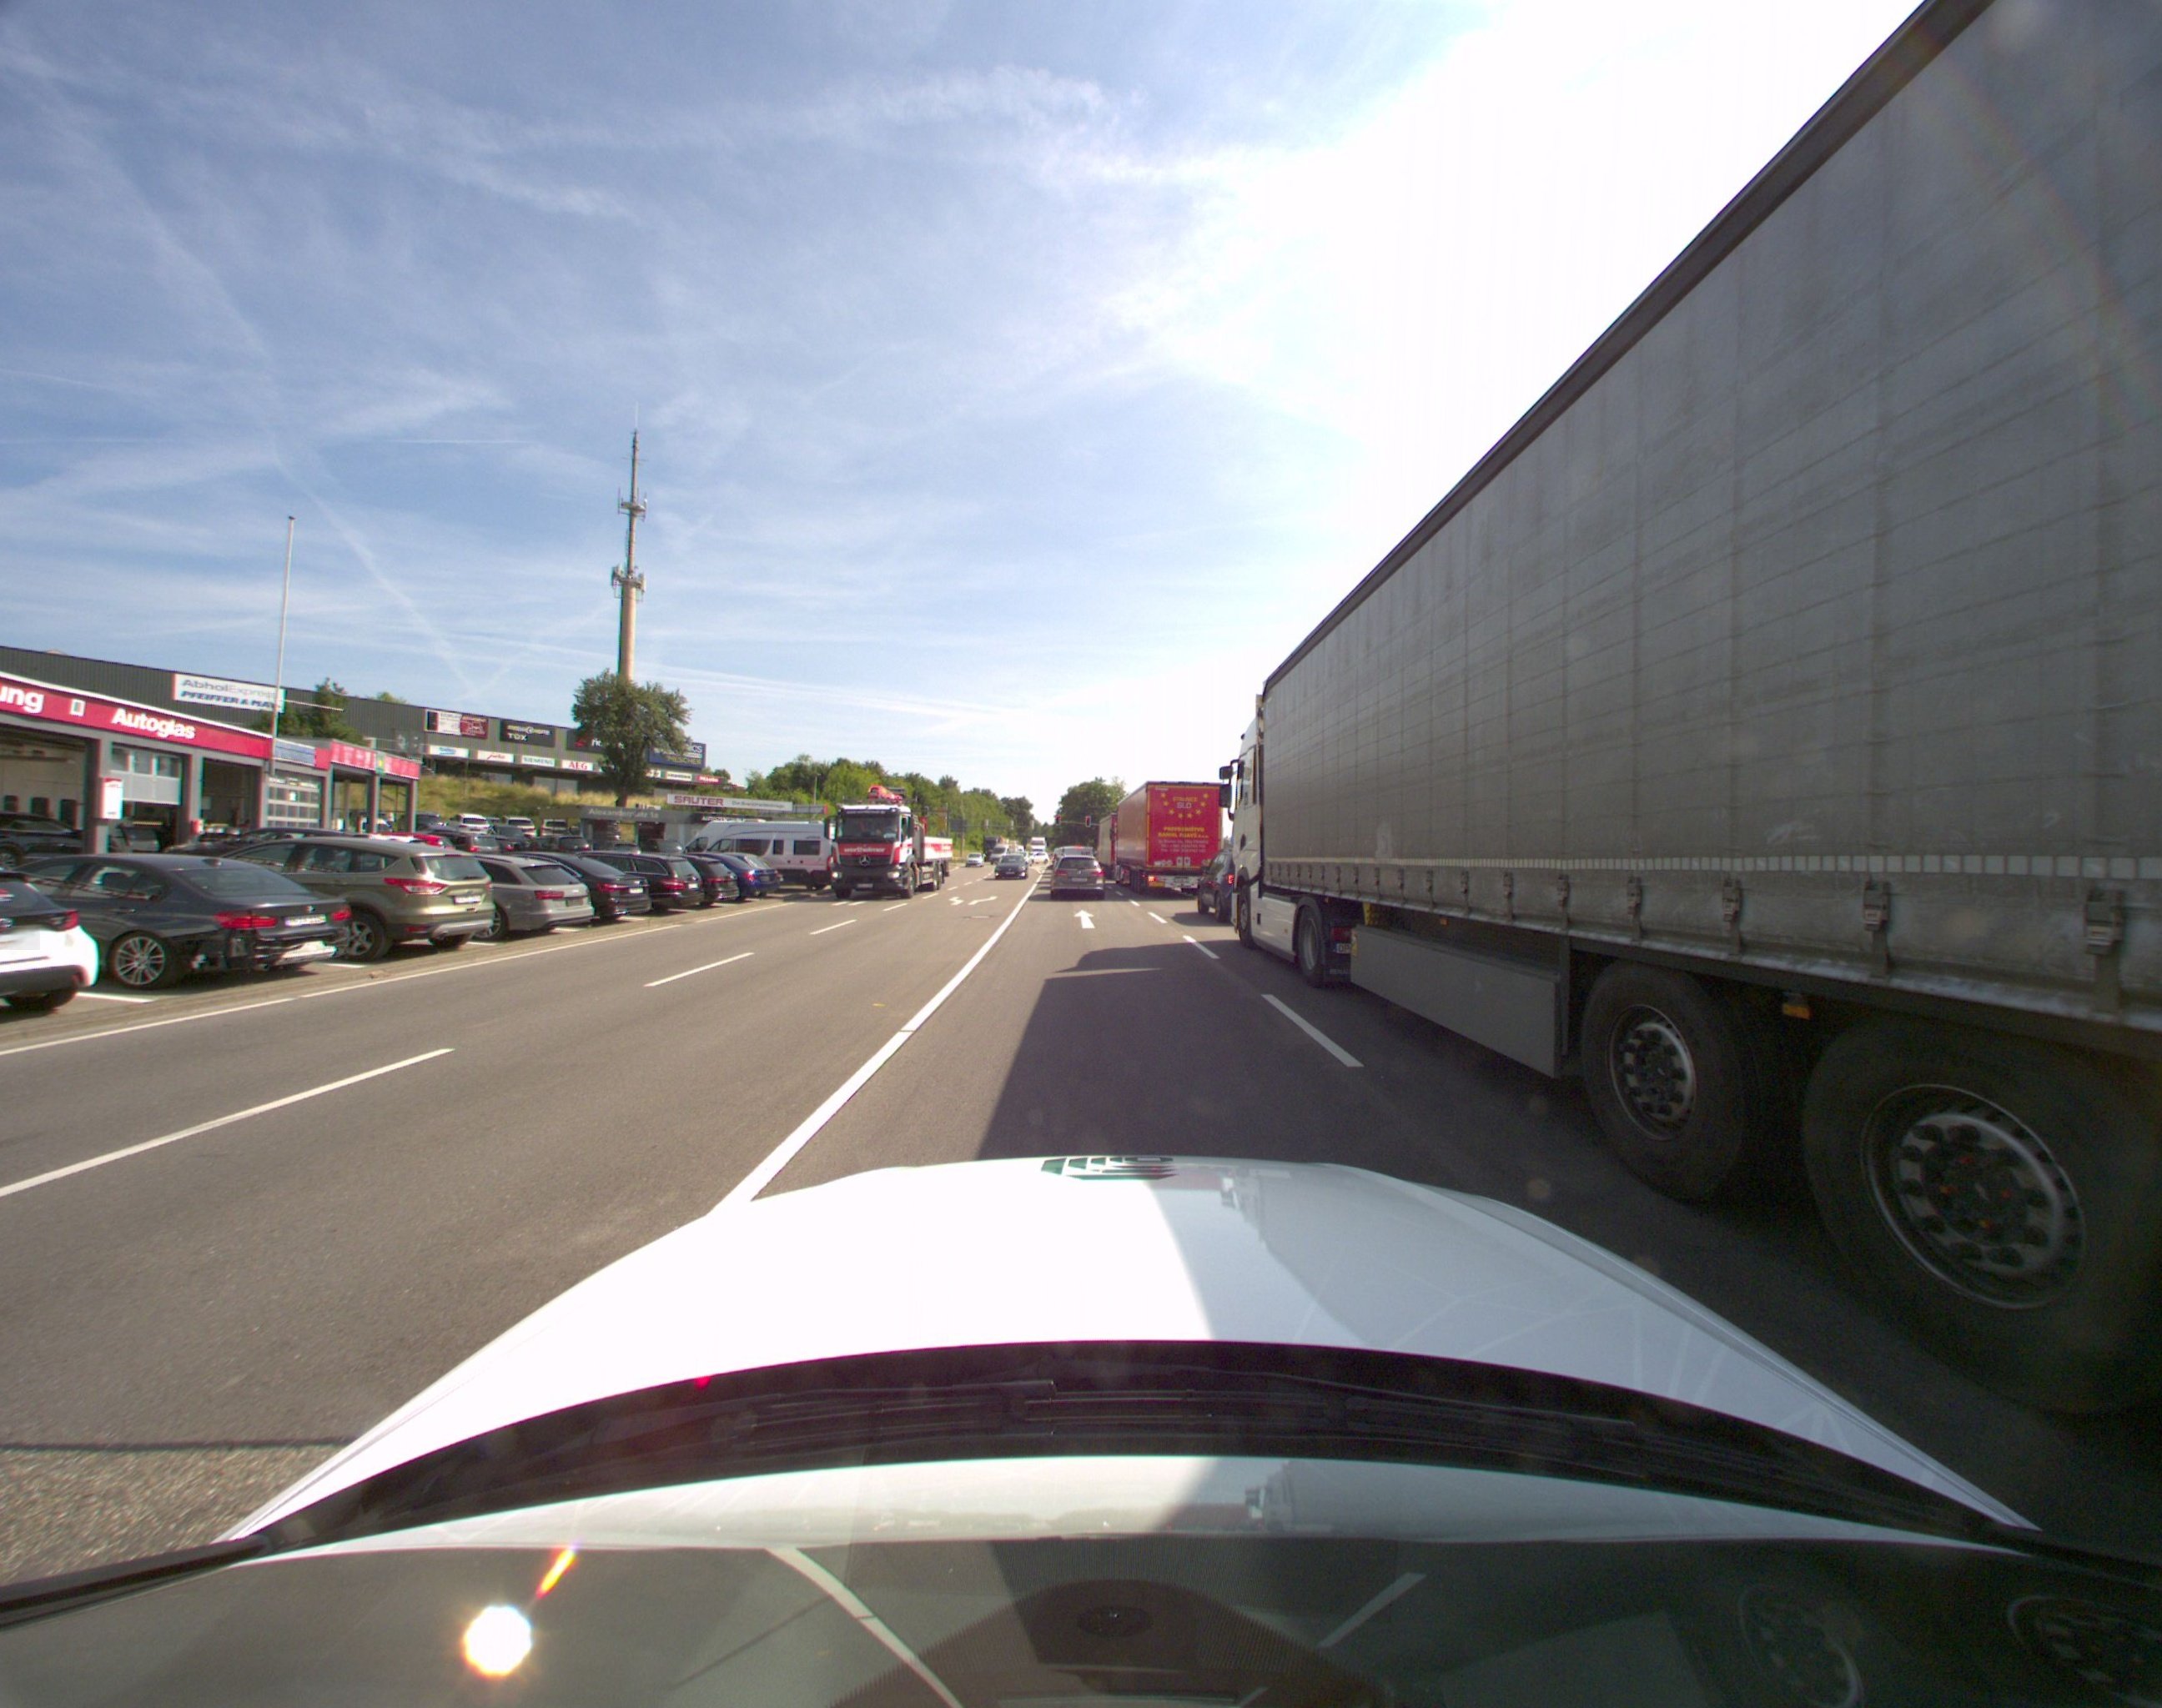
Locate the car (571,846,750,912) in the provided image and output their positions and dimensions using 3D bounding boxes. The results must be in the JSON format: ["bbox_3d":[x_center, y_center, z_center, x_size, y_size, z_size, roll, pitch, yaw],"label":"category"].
[{"bbox_3d":[-11.435,0.664,22.353,3.836,1.484,1.800,4,0,-3],"label":"car"}]

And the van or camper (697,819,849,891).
[{"bbox_3d":[-12.370,0.035,32.986,5.229,2.731,2.210,1,0,-1],"label":"van or camper"}]

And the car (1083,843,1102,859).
[{"bbox_3d":[1.157,-0.254,80.630,1.722,1.519,3.309,1,-1,-2],"label":"car"}]

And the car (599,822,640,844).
[{"bbox_3d":[-32.639,-1.477,57.579,1.746,1.450,3.704,2,-1,-42],"label":"car"}]

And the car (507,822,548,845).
[{"bbox_3d":[-37.133,-1.367,54.616,1.746,1.450,3.704,2,-1,-42],"label":"car"}]

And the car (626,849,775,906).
[{"bbox_3d":[-11.588,0.697,24.963,3.699,1.555,1.706,2,1,-3],"label":"car"}]

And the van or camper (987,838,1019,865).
[{"bbox_3d":[-9.312,-0.218,97.908,2.193,3.056,5.920,0,-2,11],"label":"van or camper"}]

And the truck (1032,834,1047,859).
[{"bbox_3d":[-7.515,-1.330,148.272,2.546,4.307,7.591,-1,0,-1],"label":"truck"}]

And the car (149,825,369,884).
[{"bbox_3d":[-22.867,0.014,22.866,3.956,1.532,1.755,0,0,-25],"label":"car"}]

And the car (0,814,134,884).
[{"bbox_3d":[-27.326,-0.121,20.905,1.908,1.672,3.997,0,0,-13],"label":"car"}]

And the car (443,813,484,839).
[{"bbox_3d":[-40.024,-1.767,52.753,1.746,1.537,3.704,2,-1,-42],"label":"car"}]

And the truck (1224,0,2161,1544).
[{"bbox_3d":[3.844,-0.663,6.301,2.880,4.266,16.713,0,0,1],"label":"truck"}]

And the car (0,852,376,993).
[{"bbox_3d":[-11.209,0.753,9.840,3.699,1.525,1.790,0,0,-3],"label":"car"}]

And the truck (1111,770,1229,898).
[{"bbox_3d":[3.286,-0.694,35.634,2.949,4.269,16.574,1,0,-1],"label":"truck"}]

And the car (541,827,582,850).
[{"bbox_3d":[-35.678,-1.040,55.931,1.746,1.450,3.704,2,-1,-42],"label":"car"}]

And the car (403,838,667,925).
[{"bbox_3d":[-11.569,0.571,17.504,4.289,1.484,1.796,4,0,-3],"label":"car"}]

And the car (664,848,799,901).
[{"bbox_3d":[-11.741,0.663,27.553,3.699,1.484,1.706,4,0,-3],"label":"car"}]

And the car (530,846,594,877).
[{"bbox_3d":[-28.077,0.397,43.996,3.780,1.588,1.780,0,0,38],"label":"car"}]

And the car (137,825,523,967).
[{"bbox_3d":[-11.060,0.595,12.256,3.877,1.716,1.804,4,0,-3],"label":"car"}]

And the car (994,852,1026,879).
[{"bbox_3d":[-4.218,0.649,48.617,1.803,1.560,4.381,0,0,-4],"label":"car"}]

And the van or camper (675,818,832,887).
[{"bbox_3d":[-14.113,-0.074,35.395,5.876,2.873,2.288,1,1,-2],"label":"van or camper"}]

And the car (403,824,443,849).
[{"bbox_3d":[-41.441,-1.090,51.255,1.746,1.450,3.704,2,-1,-42],"label":"car"}]

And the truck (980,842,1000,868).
[{"bbox_3d":[-13.876,0.140,124.377,2.808,3.786,6.977,-1,0,-5],"label":"truck"}]

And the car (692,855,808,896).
[{"bbox_3d":[-12.319,0.774,30.506,3.583,1.480,1.812,0,0,-1],"label":"car"}]

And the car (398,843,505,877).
[{"bbox_3d":[-29.604,0.267,38.347,3.797,1.588,1.772,0,0,6],"label":"car"}]

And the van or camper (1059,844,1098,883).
[{"bbox_3d":[-0.160,0.453,41.730,1.848,1.905,3.782,1,0,-2],"label":"van or camper"}]

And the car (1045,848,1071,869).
[{"bbox_3d":[-1.663,0.328,59.891,1.721,1.519,3.313,1,-1,1],"label":"car"}]

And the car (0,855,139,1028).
[{"bbox_3d":[-11.460,0.770,7.260,3.787,1.525,1.844,0,0,-3],"label":"car"}]

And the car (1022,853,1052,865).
[{"bbox_3d":[-5.784,0.650,108.093,1.695,1.448,4.106,0,0,39],"label":"car"}]

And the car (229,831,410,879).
[{"bbox_3d":[-24.095,0.018,25.964,3.835,1.431,1.755,0,0,-25],"label":"car"}]

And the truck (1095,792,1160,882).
[{"bbox_3d":[2.883,-1.039,56.023,3.054,5.220,16.997,1,0,-1],"label":"truck"}]

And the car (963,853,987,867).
[{"bbox_3d":[-10.783,0.586,83.022,1.831,1.448,4.080,0,0,0],"label":"car"}]

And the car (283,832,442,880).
[{"bbox_3d":[-25.111,0.074,28.648,3.835,1.588,1.755,0,0,-25],"label":"car"}]

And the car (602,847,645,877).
[{"bbox_3d":[-25.424,0.401,45.225,1.776,1.588,3.788,0,0,-34],"label":"car"}]

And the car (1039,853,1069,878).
[{"bbox_3d":[-1.677,0.699,51.720,1.721,1.519,3.312,1,-1,0],"label":"car"}]

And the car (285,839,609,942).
[{"bbox_3d":[-11.376,0.629,14.875,4.267,1.484,1.834,4,0,-3],"label":"car"}]

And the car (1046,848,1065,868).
[{"bbox_3d":[-2.554,0.430,82.397,1.720,1.909,3.313,1,-1,2],"label":"car"}]

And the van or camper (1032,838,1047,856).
[{"bbox_3d":[-6.898,-1.052,134.972,2.218,2.841,5.707,1,-1,-2],"label":"van or camper"}]

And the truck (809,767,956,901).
[{"bbox_3d":[-7.152,-0.678,31.332,2.947,4.209,10.645,-1,0,0],"label":"truck"}]

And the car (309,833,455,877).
[{"bbox_3d":[-26.427,0.045,30.941,3.835,1.588,1.755,0,0,-25],"label":"car"}]

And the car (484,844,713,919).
[{"bbox_3d":[-11.807,0.650,20.187,4.449,1.484,1.770,4,0,-3],"label":"car"}]

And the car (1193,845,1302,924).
[{"bbox_3d":[3.852,0.643,19.512,1.813,1.685,4.000,0,0,0],"label":"car"}]

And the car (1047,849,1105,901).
[{"bbox_3d":[-0.103,0.676,27.388,1.783,1.638,3.505,0,0,2],"label":"car"}]
